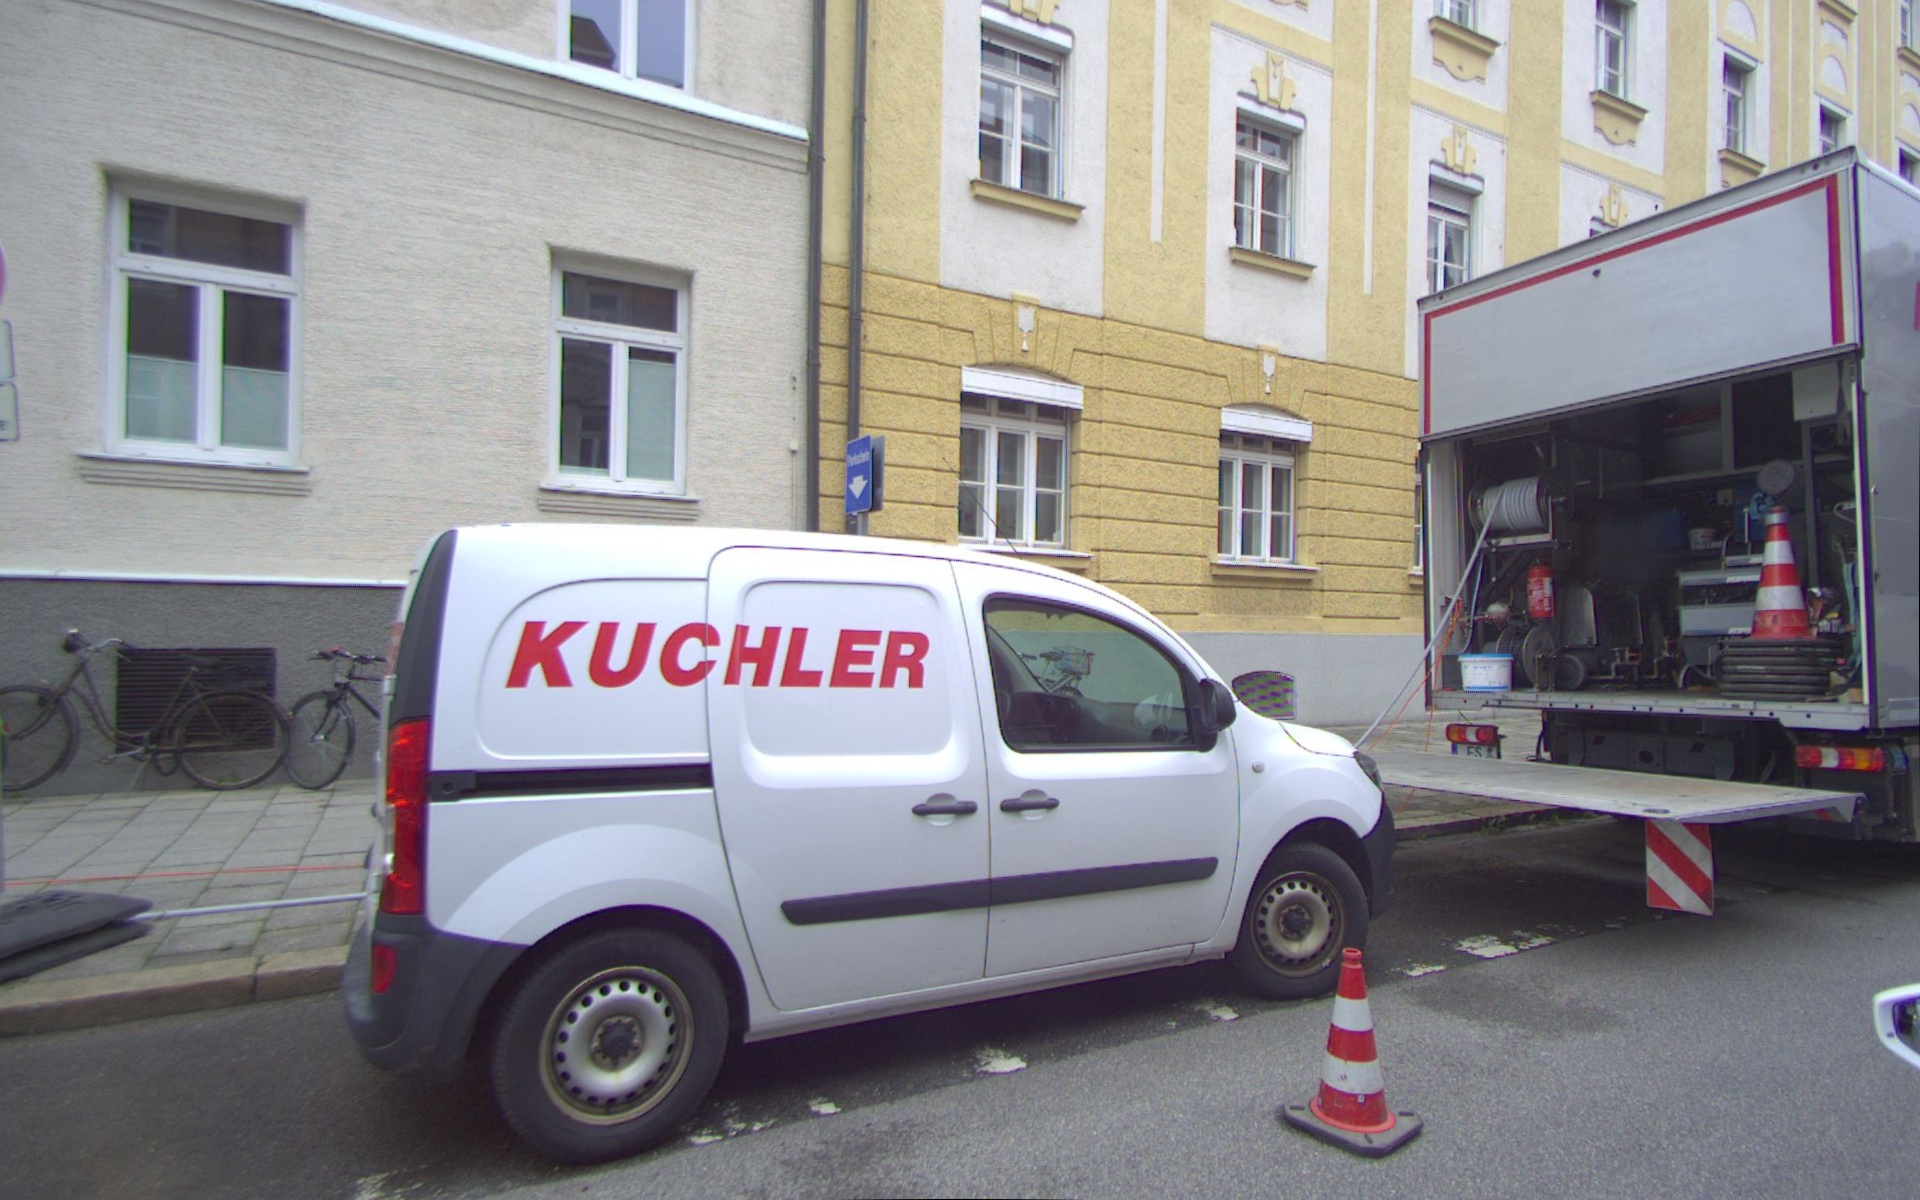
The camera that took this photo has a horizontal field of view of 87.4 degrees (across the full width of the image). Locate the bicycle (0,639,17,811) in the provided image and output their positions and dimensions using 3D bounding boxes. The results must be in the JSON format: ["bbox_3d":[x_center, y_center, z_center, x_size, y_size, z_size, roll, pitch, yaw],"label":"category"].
[{"bbox_3d":[-7.047,0.799,6.187,1.721,1.119,0.426,2,-1,-29],"label":"bicycle"}]

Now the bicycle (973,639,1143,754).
[{"bbox_3d":[1.050,0.991,10.640,1.745,1.119,0.604,2,-1,-29],"label":"bicycle"}]

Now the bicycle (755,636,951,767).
[{"bbox_3d":[-0.985,0.927,9.454,1.745,1.119,0.504,2,2,-29],"label":"bicycle"}]

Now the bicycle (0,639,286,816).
[{"bbox_3d":[-5.726,0.845,6.935,1.715,1.119,0.426,2,-1,-29],"label":"bicycle"}]

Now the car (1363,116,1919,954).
[{"bbox_3d":[7.286,-0.183,7.972,8.617,3.868,2.801,2,-1,-29],"label":"car"}]

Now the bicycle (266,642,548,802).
[{"bbox_3d":[-4.222,0.904,7.784,1.842,1.119,0.399,2,-1,-29],"label":"bicycle"}]

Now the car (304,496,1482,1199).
[{"bbox_3d":[-0.032,0.737,4.146,4.272,1.802,1.756,1,-3,-28],"label":"car"}]
